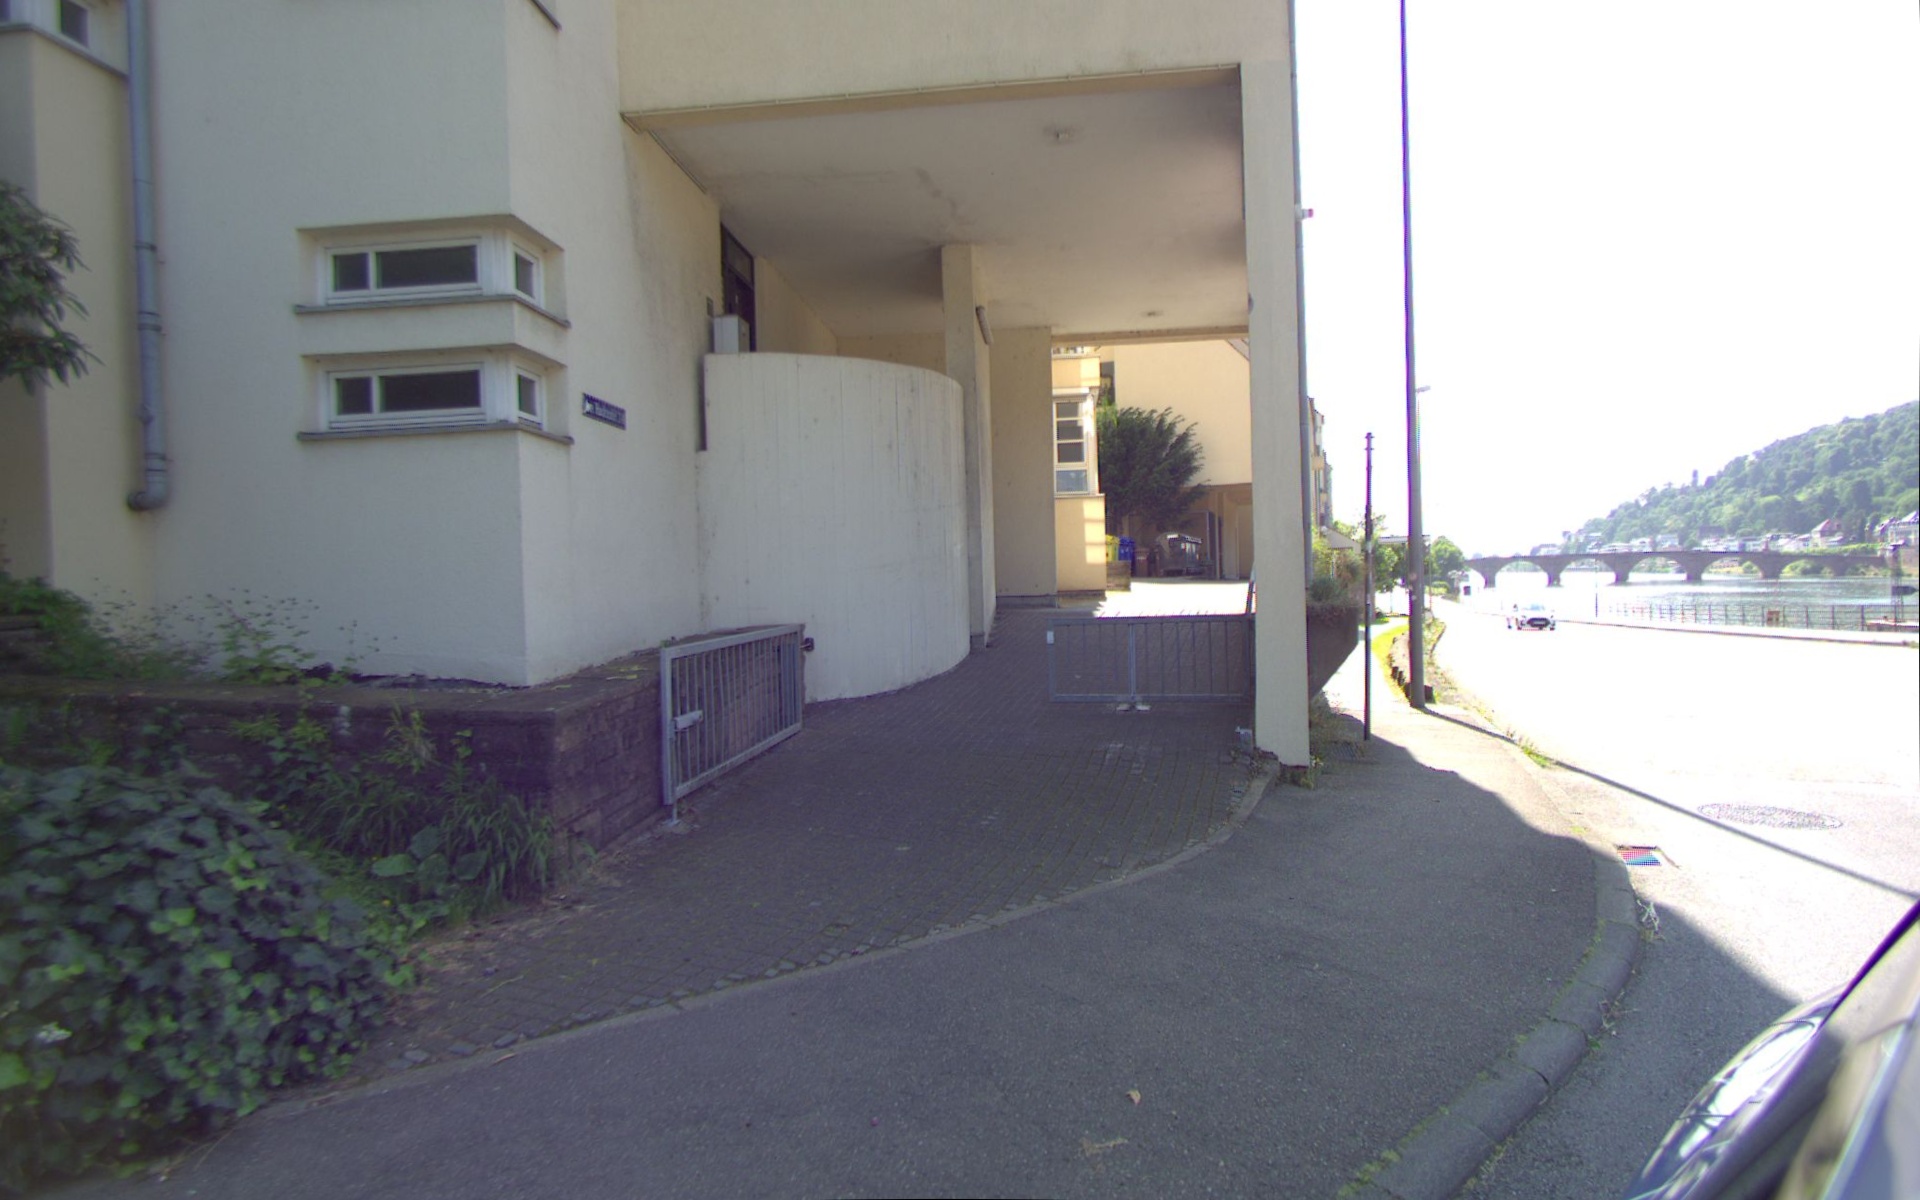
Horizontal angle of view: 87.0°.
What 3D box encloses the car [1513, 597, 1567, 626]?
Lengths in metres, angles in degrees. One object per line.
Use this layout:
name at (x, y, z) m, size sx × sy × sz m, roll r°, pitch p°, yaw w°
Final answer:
car at (30.136, 0.567, 52.702) m, size 1.978 × 1.460 × 3.968 m, roll 0°, pitch 0°, yaw 23°
